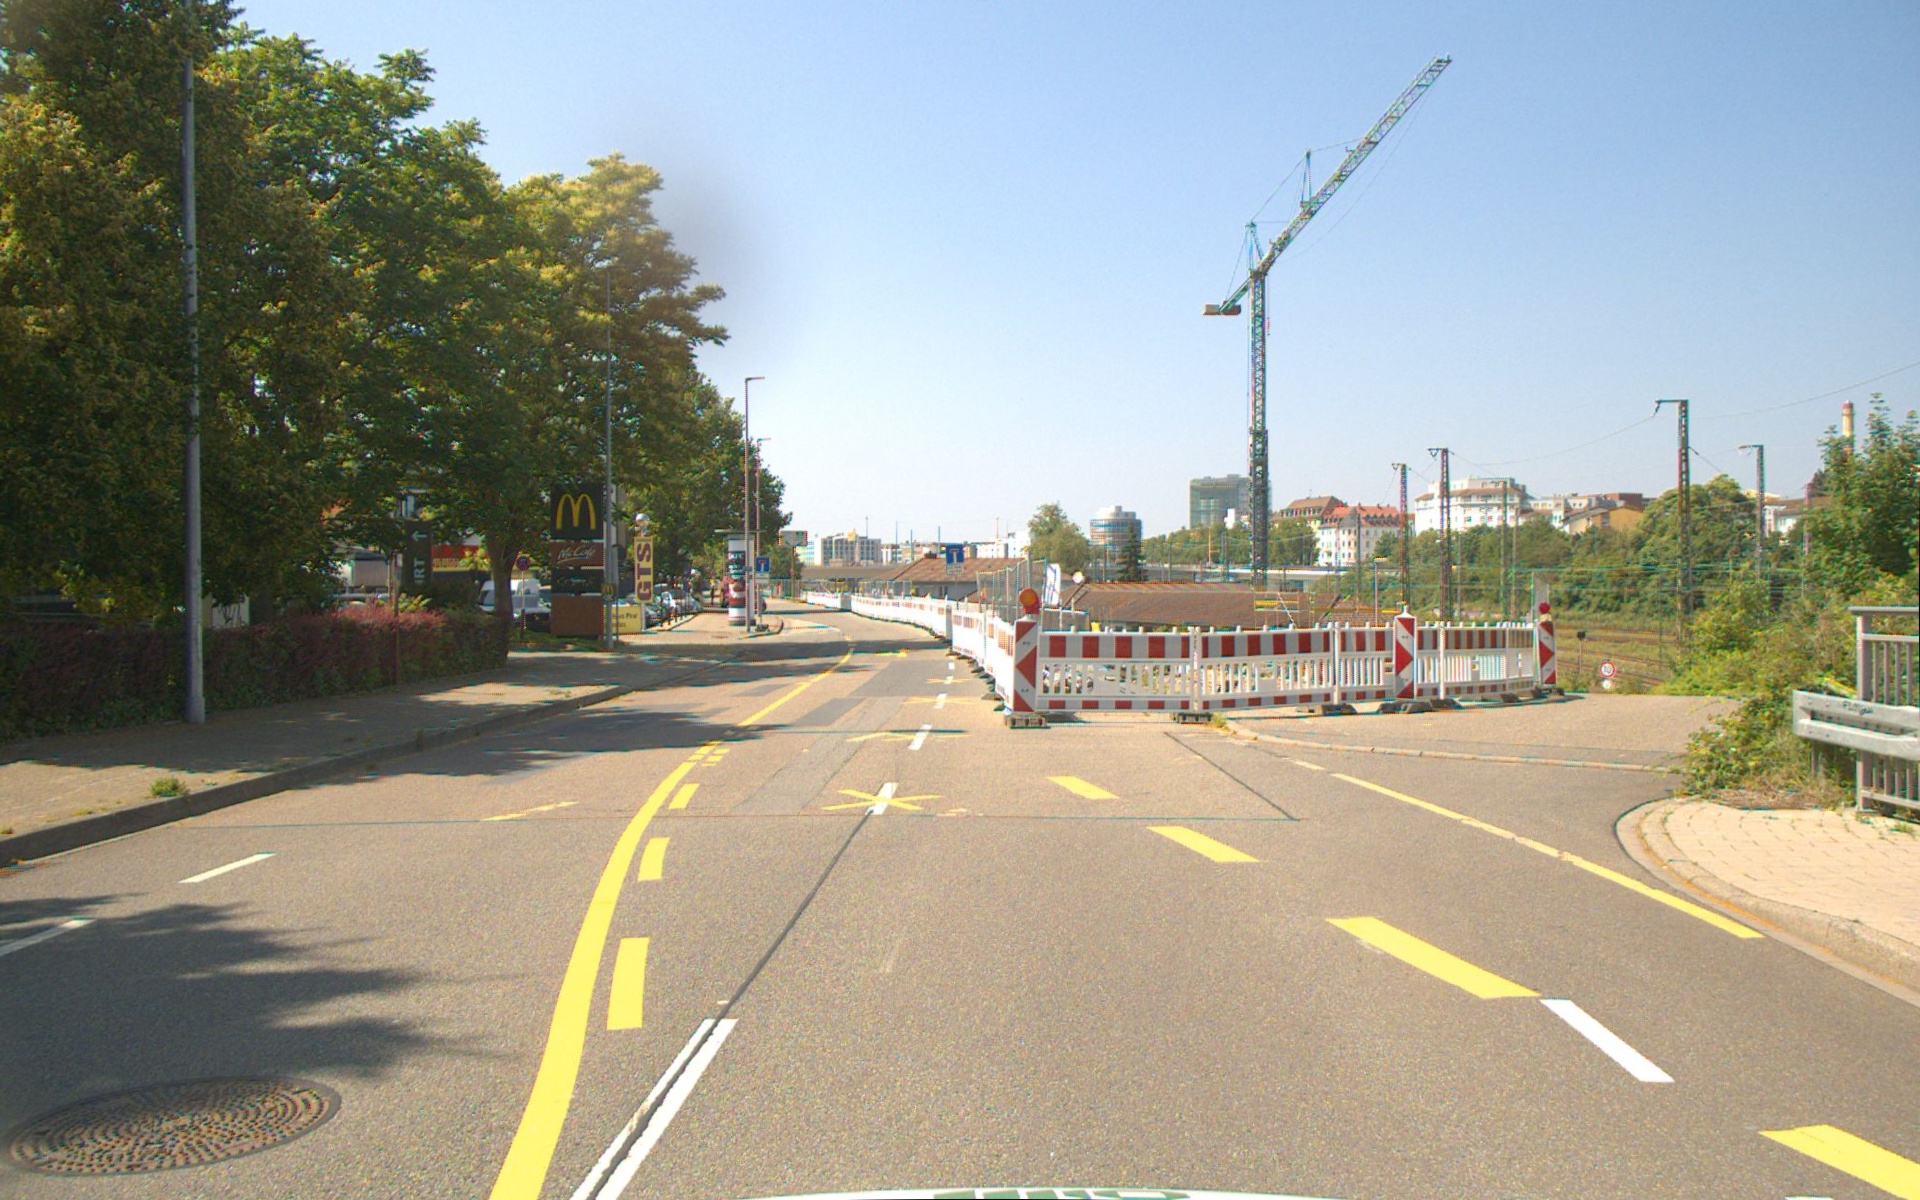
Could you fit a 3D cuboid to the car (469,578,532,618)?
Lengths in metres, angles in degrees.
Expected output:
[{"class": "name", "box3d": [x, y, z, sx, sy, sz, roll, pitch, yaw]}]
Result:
[{"class": "car", "box3d": [-23.146, -0.112, 83.224, 1.975, 1.937, 3.954, 0, 0, -33]}]

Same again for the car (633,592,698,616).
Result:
[{"class": "car", "box3d": [-17.990, 0.222, 100.999, 3.597, 1.445, 1.573, 0, 0, 16]}]
